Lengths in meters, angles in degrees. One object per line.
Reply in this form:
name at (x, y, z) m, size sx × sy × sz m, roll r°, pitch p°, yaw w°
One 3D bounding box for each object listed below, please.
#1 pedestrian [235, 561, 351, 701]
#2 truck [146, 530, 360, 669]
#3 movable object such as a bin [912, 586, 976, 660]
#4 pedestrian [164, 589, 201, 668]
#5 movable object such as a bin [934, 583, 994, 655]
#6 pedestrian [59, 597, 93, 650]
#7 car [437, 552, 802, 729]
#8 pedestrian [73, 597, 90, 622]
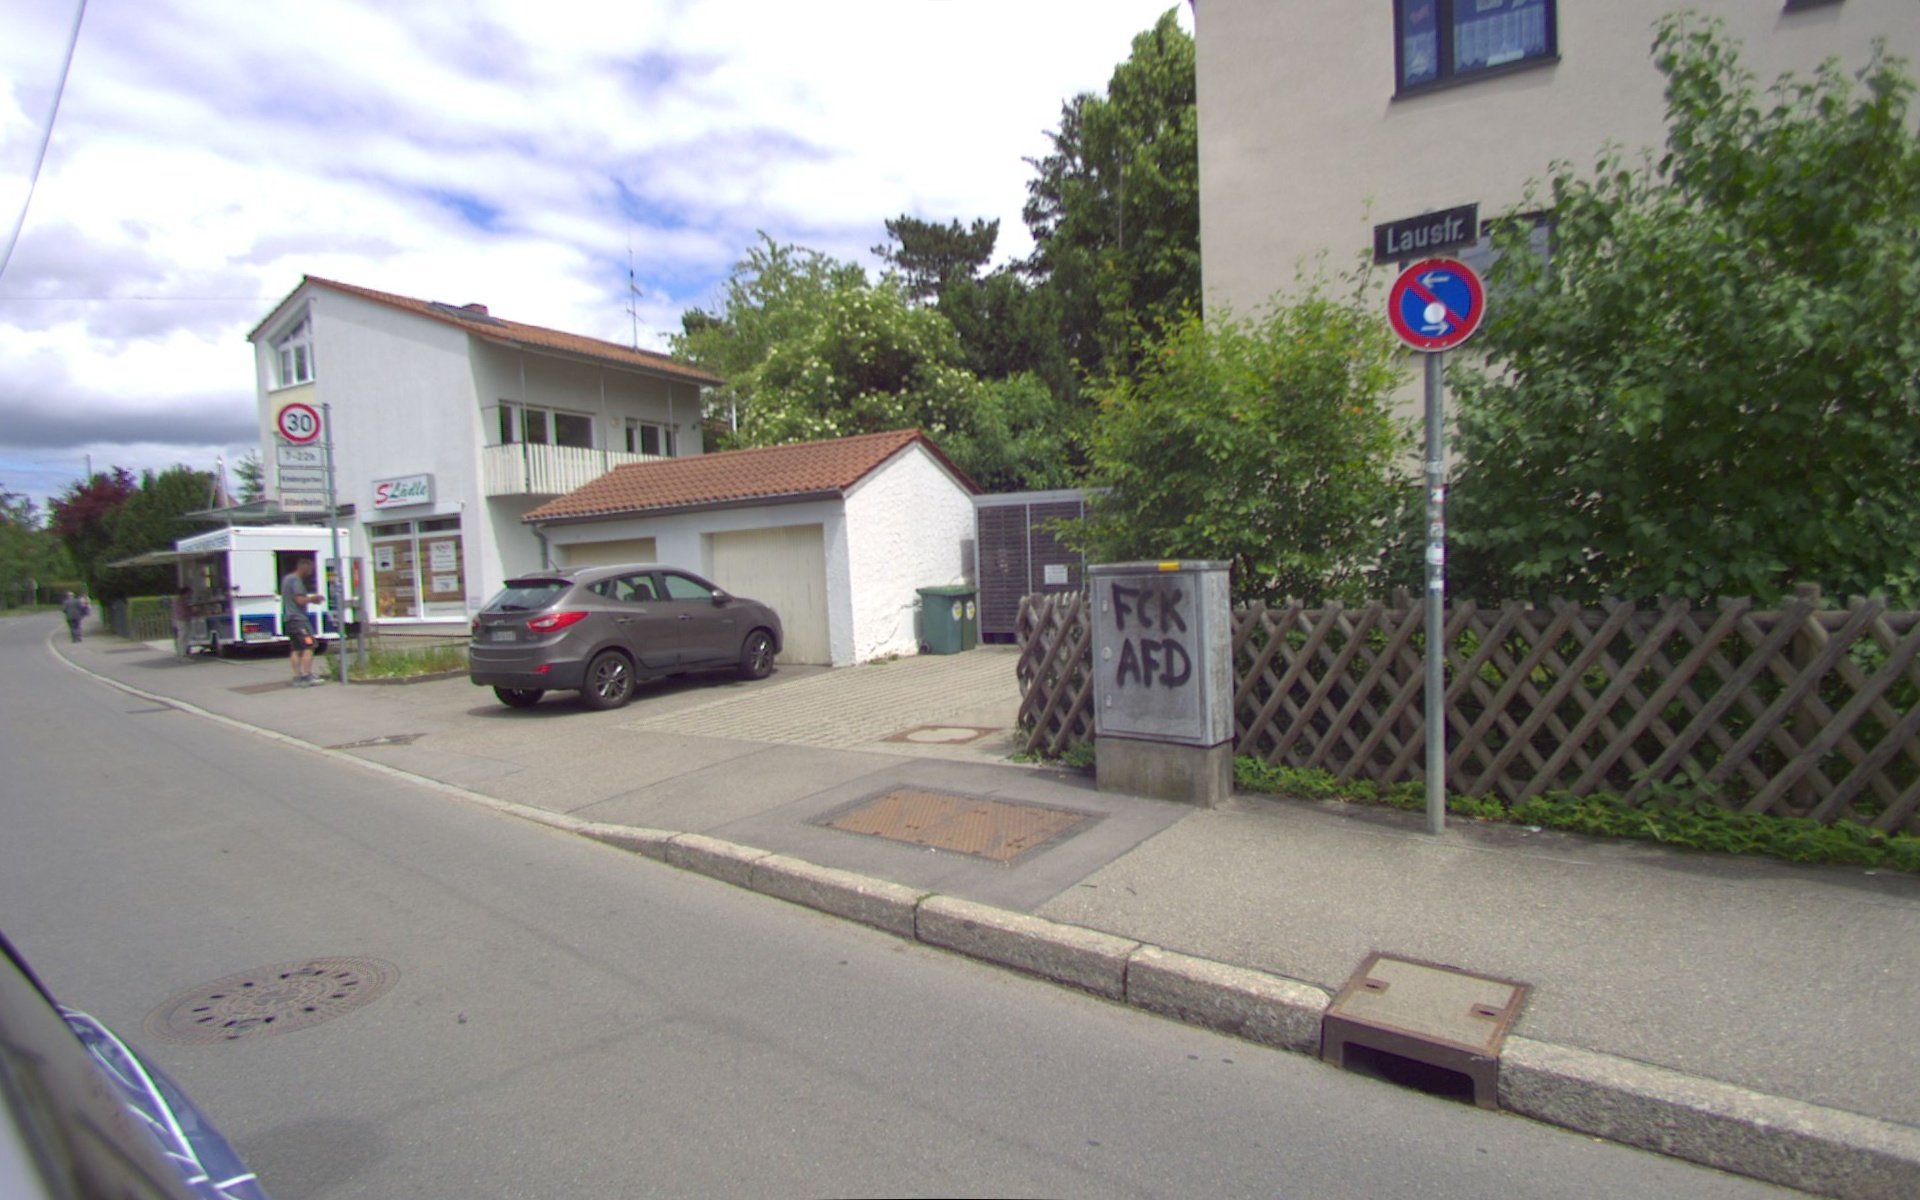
pedestrian at (-10.121, 0.440, 15.375) m, size 1.200 × 1.959 × 0.736 m, roll -7°, pitch 5°, yaw -44°
truck at (-16.877, -0.046, 23.971) m, size 6.703 × 2.861 × 2.448 m, roll -1°, pitch 3°, yaw 41°
movable object such as a bin at (-0.250, 0.358, 15.944) m, size 0.701 × 1.091 × 0.683 m, roll -2°, pitch 4°, yaw 29°
pedestrian at (-17.448, 0.631, 22.716) m, size 0.597 × 1.707 × 0.397 m, roll -1°, pitch 4°, yaw 40°
movable object such as a bin at (0.074, 0.305, 16.567) m, size 0.689 × 1.091 × 0.683 m, roll -2°, pitch 4°, yaw 29°
pedestrian at (-30.674, 0.807, 35.109) m, size 0.714 × 1.698 × 1.110 m, roll -7°, pitch 8°, yaw -44°
car at (-4.171, 0.366, 13.153) m, size 1.791 × 1.707 × 4.282 m, roll -2°, pitch 4°, yaw 31°
pedestrian at (-65.224, 0.678, 75.126) m, size 0.809 × 1.757 × 0.605 m, roll -6°, pitch 4°, yaw -38°
